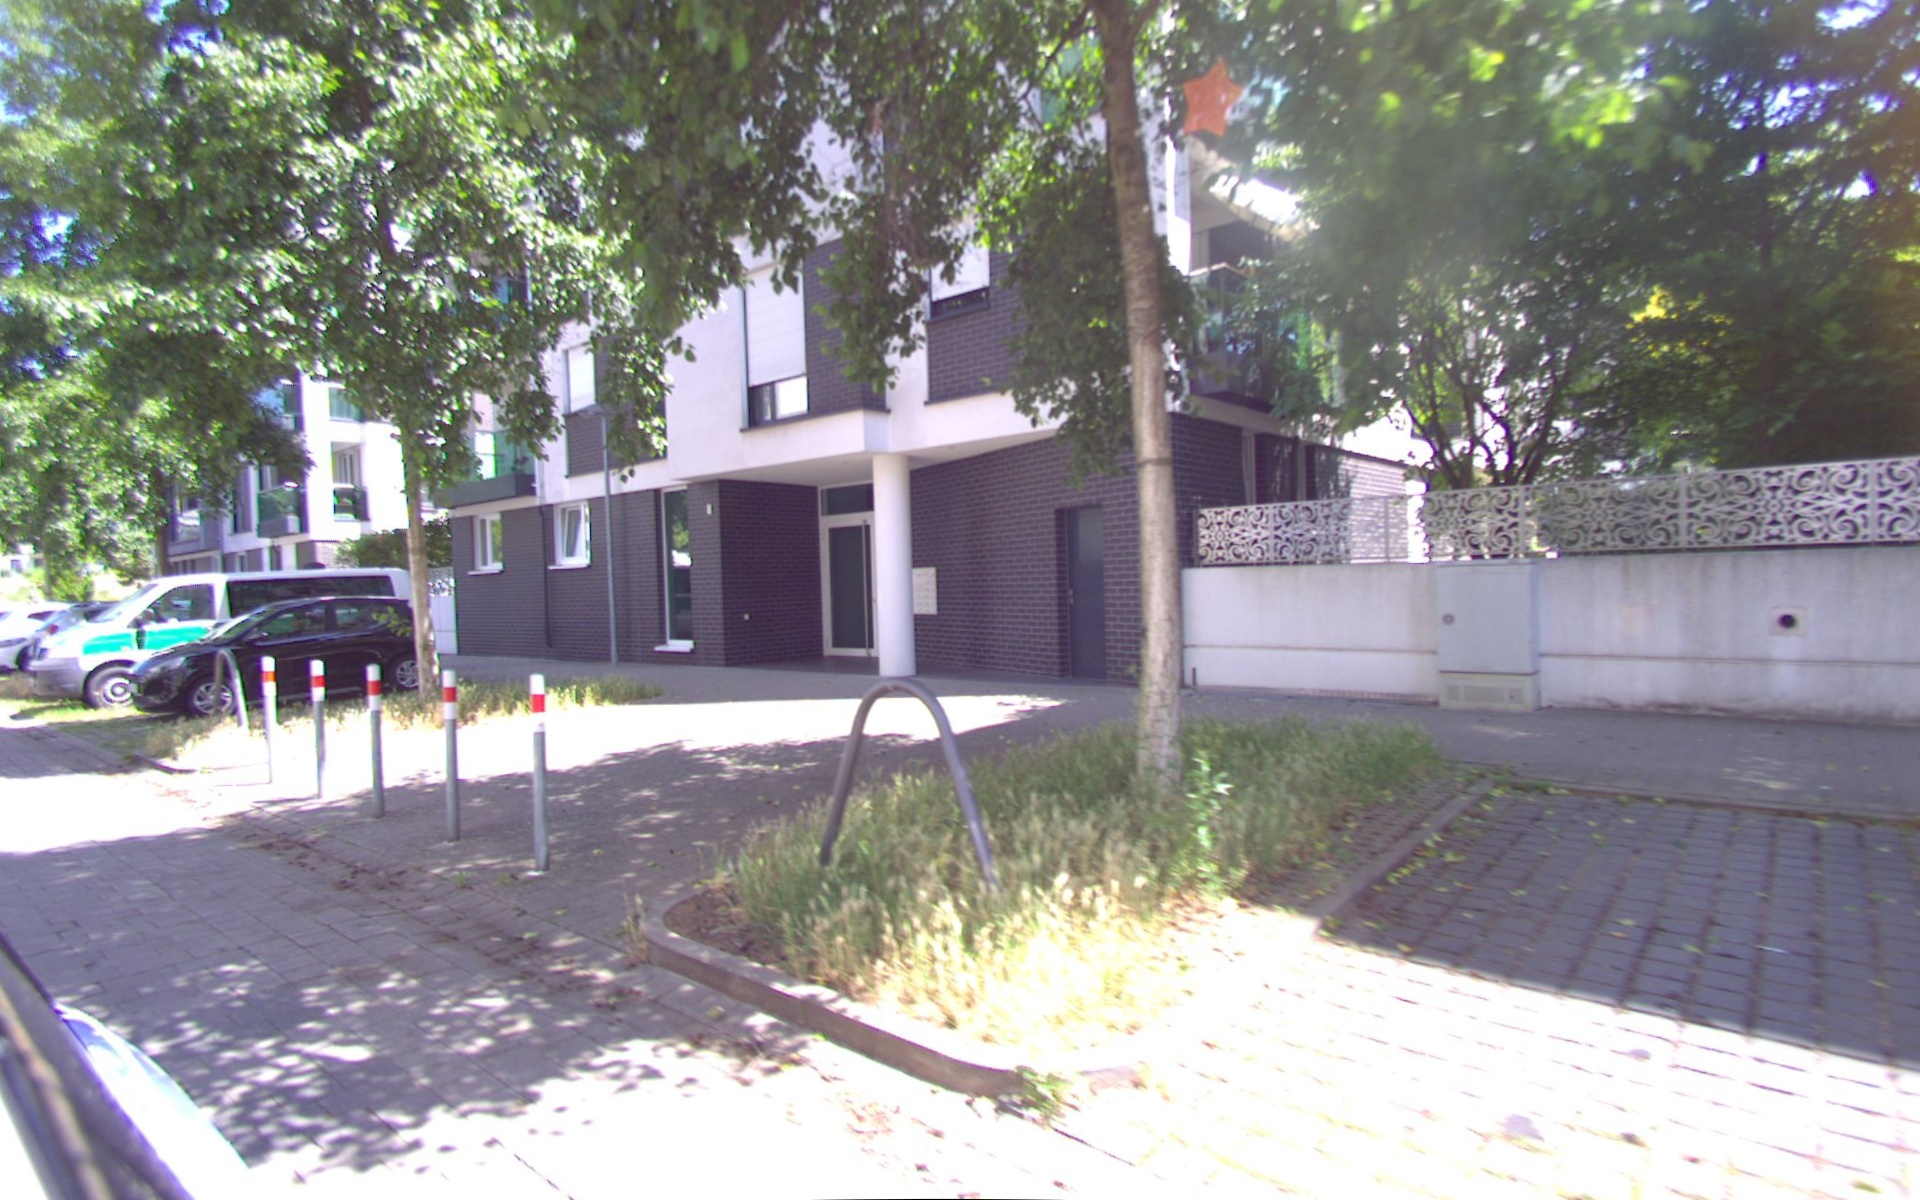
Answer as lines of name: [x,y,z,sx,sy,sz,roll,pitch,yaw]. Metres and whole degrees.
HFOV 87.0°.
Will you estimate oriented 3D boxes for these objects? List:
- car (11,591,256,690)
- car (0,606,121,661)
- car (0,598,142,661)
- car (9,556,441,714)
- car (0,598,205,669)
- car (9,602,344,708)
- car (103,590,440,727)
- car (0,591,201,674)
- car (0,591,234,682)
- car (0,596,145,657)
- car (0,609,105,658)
car: [-17.305,0.770,21.312,1.850,1.688,3.644,-1,3,40]
car: [-30.588,1.132,32.890,1.825,1.459,4.774,0,4,38]
car: [-26.760,0.881,29.470,1.819,1.542,4.213,-2,3,37]
car: [-11.628,0.405,16.364,2.187,2.126,5.285,-1,1,42]
car: [-22.993,0.840,26.527,1.828,1.467,4.802,-1,3,40]
car: [-13.852,0.877,18.122,1.998,1.501,4.378,-1,1,38]
car: [-9.642,0.716,14.385,1.676,1.492,3.588,-1,3,40]
car: [-21.272,0.744,24.778,1.949,1.641,3.938,-1,3,42]
car: [-19.460,0.763,22.847,1.962,1.605,4.520,-1,3,35]
car: [-28.704,0.836,31.383,2.039,1.644,4.981,-2,2,38]
car: [-32.676,1.195,34.509,1.925,1.496,5.051,0,3,38]
